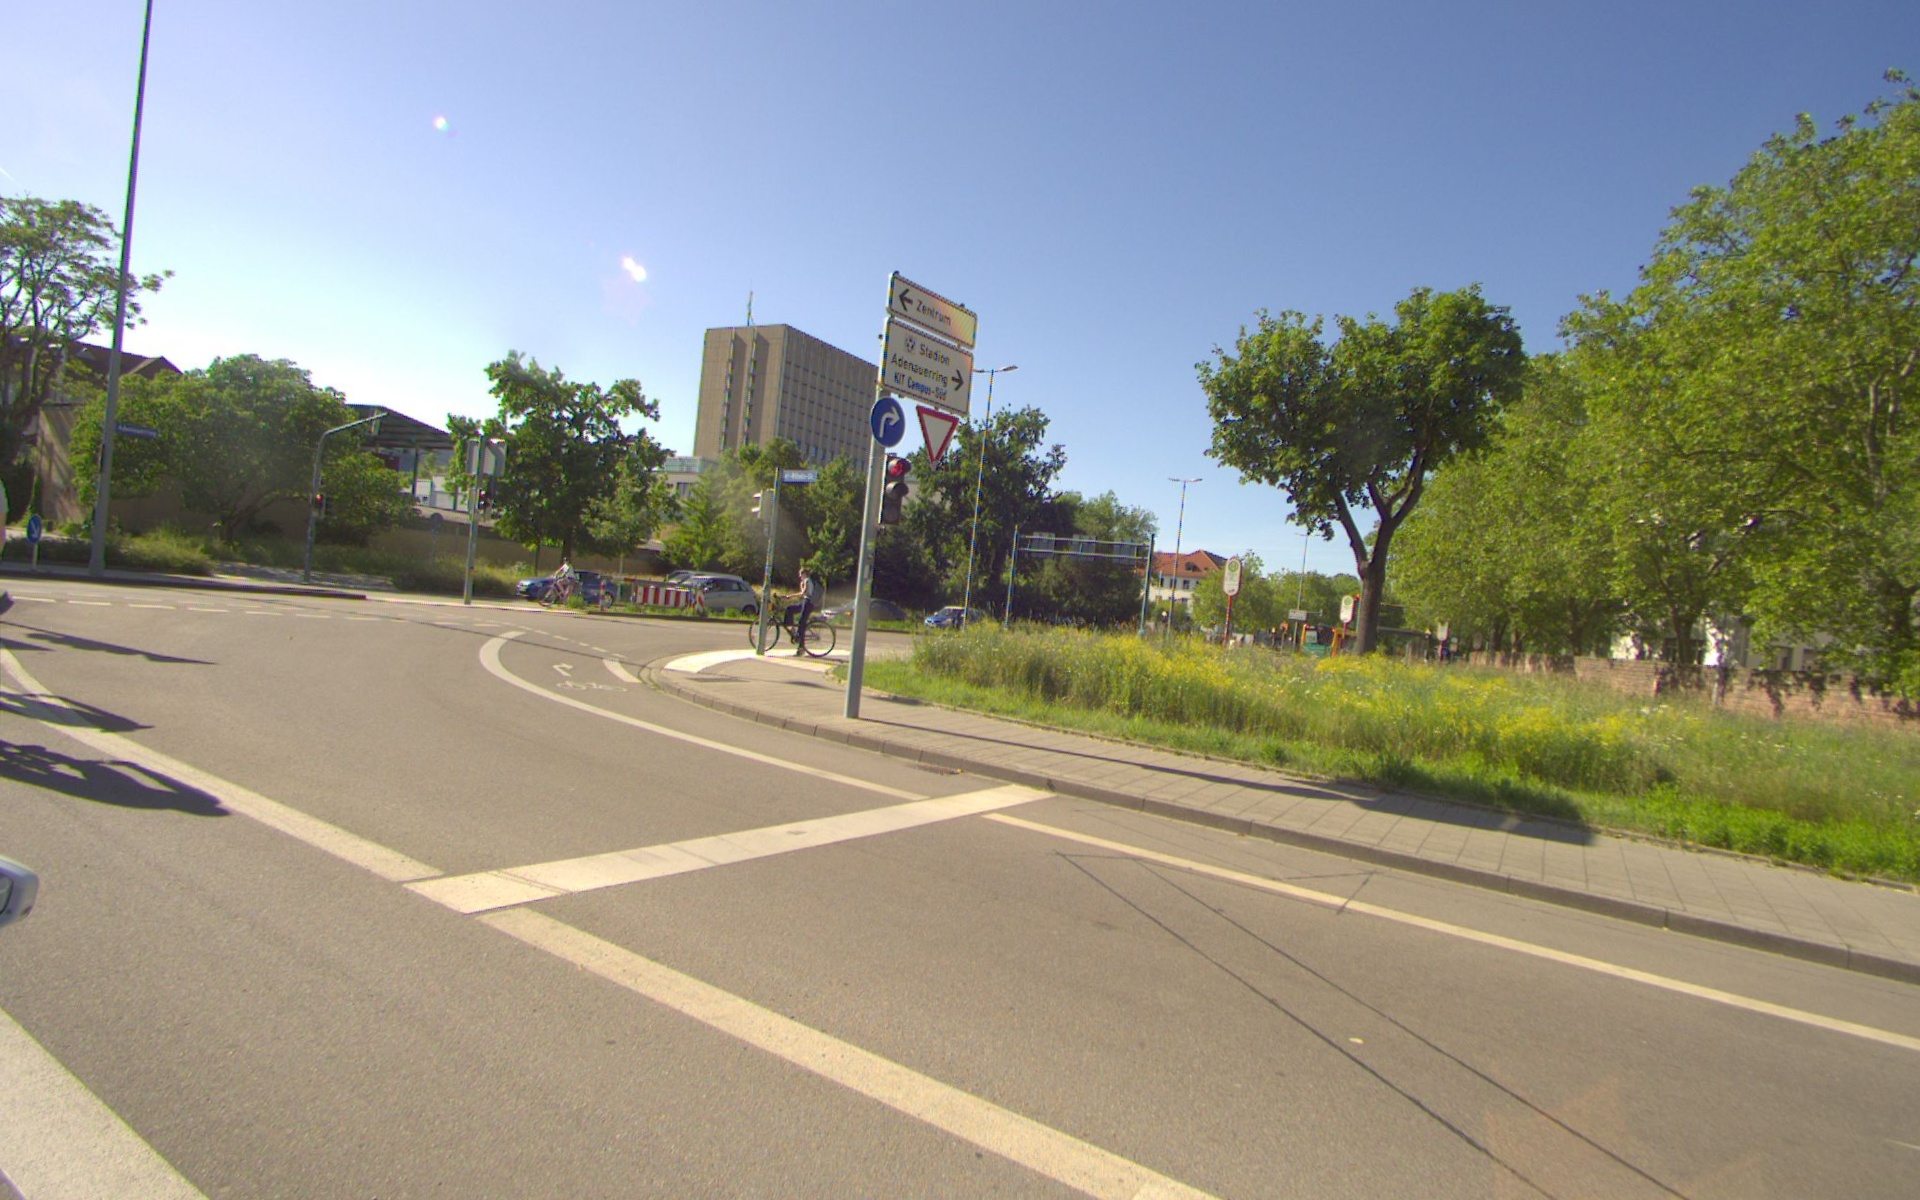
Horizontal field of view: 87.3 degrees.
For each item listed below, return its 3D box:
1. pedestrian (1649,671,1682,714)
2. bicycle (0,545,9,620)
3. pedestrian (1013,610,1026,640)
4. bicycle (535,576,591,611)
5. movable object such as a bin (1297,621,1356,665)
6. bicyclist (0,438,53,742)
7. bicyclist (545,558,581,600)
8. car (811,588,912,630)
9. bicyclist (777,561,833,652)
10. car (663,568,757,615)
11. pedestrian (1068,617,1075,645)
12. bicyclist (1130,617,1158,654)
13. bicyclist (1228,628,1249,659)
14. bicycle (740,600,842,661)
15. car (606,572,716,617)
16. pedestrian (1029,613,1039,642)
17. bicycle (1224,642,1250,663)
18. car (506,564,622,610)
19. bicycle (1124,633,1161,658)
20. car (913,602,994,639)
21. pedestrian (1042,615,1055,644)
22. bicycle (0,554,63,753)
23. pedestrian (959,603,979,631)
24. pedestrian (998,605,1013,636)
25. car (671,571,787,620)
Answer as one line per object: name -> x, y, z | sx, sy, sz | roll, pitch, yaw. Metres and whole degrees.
pedestrian -> 26.205, 3.431, 37.362 | 0.712, 1.460, 0.523 | 7, -1, 2
bicycle -> -8.169, 0.027, 7.743 | 1.890, 1.102, 0.690 | 6, -1, 32
pedestrian -> 5.037, 2.090, 85.131 | 0.655, 2.451, 0.613 | 6, -1, 34
bicycle -> -13.935, -0.227, 35.363 | 0.602, 1.046, 1.681 | 7, 0, 37
movable object such as a bin -> 28.154, 3.372, 76.953 | 2.954, 2.898, 9.178 | 6, 0, 27
bicyclist -> -6.304, -0.116, 6.160 | 1.123, 1.813, 0.684 | 7, 0, 32
bicyclist -> -13.934, -0.723, 35.286 | 0.602, 1.360, 0.874 | 7, 1, 37
car -> -4.308, 0.435, 44.634 | 1.767, 1.415, 4.557 | 7, 0, 37
bicyclist -> -3.036, 0.125, 19.710 | 0.898, 1.667, 0.630 | 6, 1, -9
car -> -11.842, -0.367, 47.800 | 1.767, 1.771, 3.986 | 7, 0, 37
pedestrian -> 9.924, 2.757, 89.461 | 0.267, 2.451, 0.300 | 6, -1, 34
bicyclist -> 7.939, 1.538, 43.305 | 0.632, 1.533, 1.049 | 7, 2, 39
bicyclist -> 14.569, 2.255, 52.626 | 0.509, 1.548, 1.067 | 7, 2, 39
bicycle -> -3.289, 0.592, 19.682 | 1.856, 0.970, 0.635 | 7, 1, -10
car -> -12.299, -0.200, 41.575 | 1.767, 1.415, 3.986 | 7, 0, 37
pedestrian -> 6.395, 2.340, 86.889 | 0.401, 2.451, 0.467 | 6, -1, 34
bicycle -> 14.516, 2.745, 52.640 | 0.514, 1.000, 1.965 | 7, 1, 39
car -> -16.210, -0.526, 41.322 | 1.767, 1.415, 3.986 | 7, 0, 37
bicycle -> 7.870, 1.969, 43.292 | 0.640, 0.986, 1.895 | 7, 1, 39
car -> -0.294, 1.050, 50.461 | 1.916, 1.415, 3.986 | 6, 0, 37
pedestrian -> 7.721, 2.551, 87.787 | 0.710, 2.451, 0.585 | 6, -1, 34
bicycle -> -6.353, 0.231, 6.162 | 1.890, 1.102, 0.690 | 6, -1, 32
pedestrian -> 0.687, 1.336, 78.568 | 0.752, 2.039, 1.267 | 7, 1, 36
pedestrian -> 3.733, 1.672, 82.713 | 0.660, 2.451, 0.770 | 6, -1, 34
car -> -8.739, -0.130, 38.293 | 1.767, 1.415, 3.986 | 7, 0, 37
